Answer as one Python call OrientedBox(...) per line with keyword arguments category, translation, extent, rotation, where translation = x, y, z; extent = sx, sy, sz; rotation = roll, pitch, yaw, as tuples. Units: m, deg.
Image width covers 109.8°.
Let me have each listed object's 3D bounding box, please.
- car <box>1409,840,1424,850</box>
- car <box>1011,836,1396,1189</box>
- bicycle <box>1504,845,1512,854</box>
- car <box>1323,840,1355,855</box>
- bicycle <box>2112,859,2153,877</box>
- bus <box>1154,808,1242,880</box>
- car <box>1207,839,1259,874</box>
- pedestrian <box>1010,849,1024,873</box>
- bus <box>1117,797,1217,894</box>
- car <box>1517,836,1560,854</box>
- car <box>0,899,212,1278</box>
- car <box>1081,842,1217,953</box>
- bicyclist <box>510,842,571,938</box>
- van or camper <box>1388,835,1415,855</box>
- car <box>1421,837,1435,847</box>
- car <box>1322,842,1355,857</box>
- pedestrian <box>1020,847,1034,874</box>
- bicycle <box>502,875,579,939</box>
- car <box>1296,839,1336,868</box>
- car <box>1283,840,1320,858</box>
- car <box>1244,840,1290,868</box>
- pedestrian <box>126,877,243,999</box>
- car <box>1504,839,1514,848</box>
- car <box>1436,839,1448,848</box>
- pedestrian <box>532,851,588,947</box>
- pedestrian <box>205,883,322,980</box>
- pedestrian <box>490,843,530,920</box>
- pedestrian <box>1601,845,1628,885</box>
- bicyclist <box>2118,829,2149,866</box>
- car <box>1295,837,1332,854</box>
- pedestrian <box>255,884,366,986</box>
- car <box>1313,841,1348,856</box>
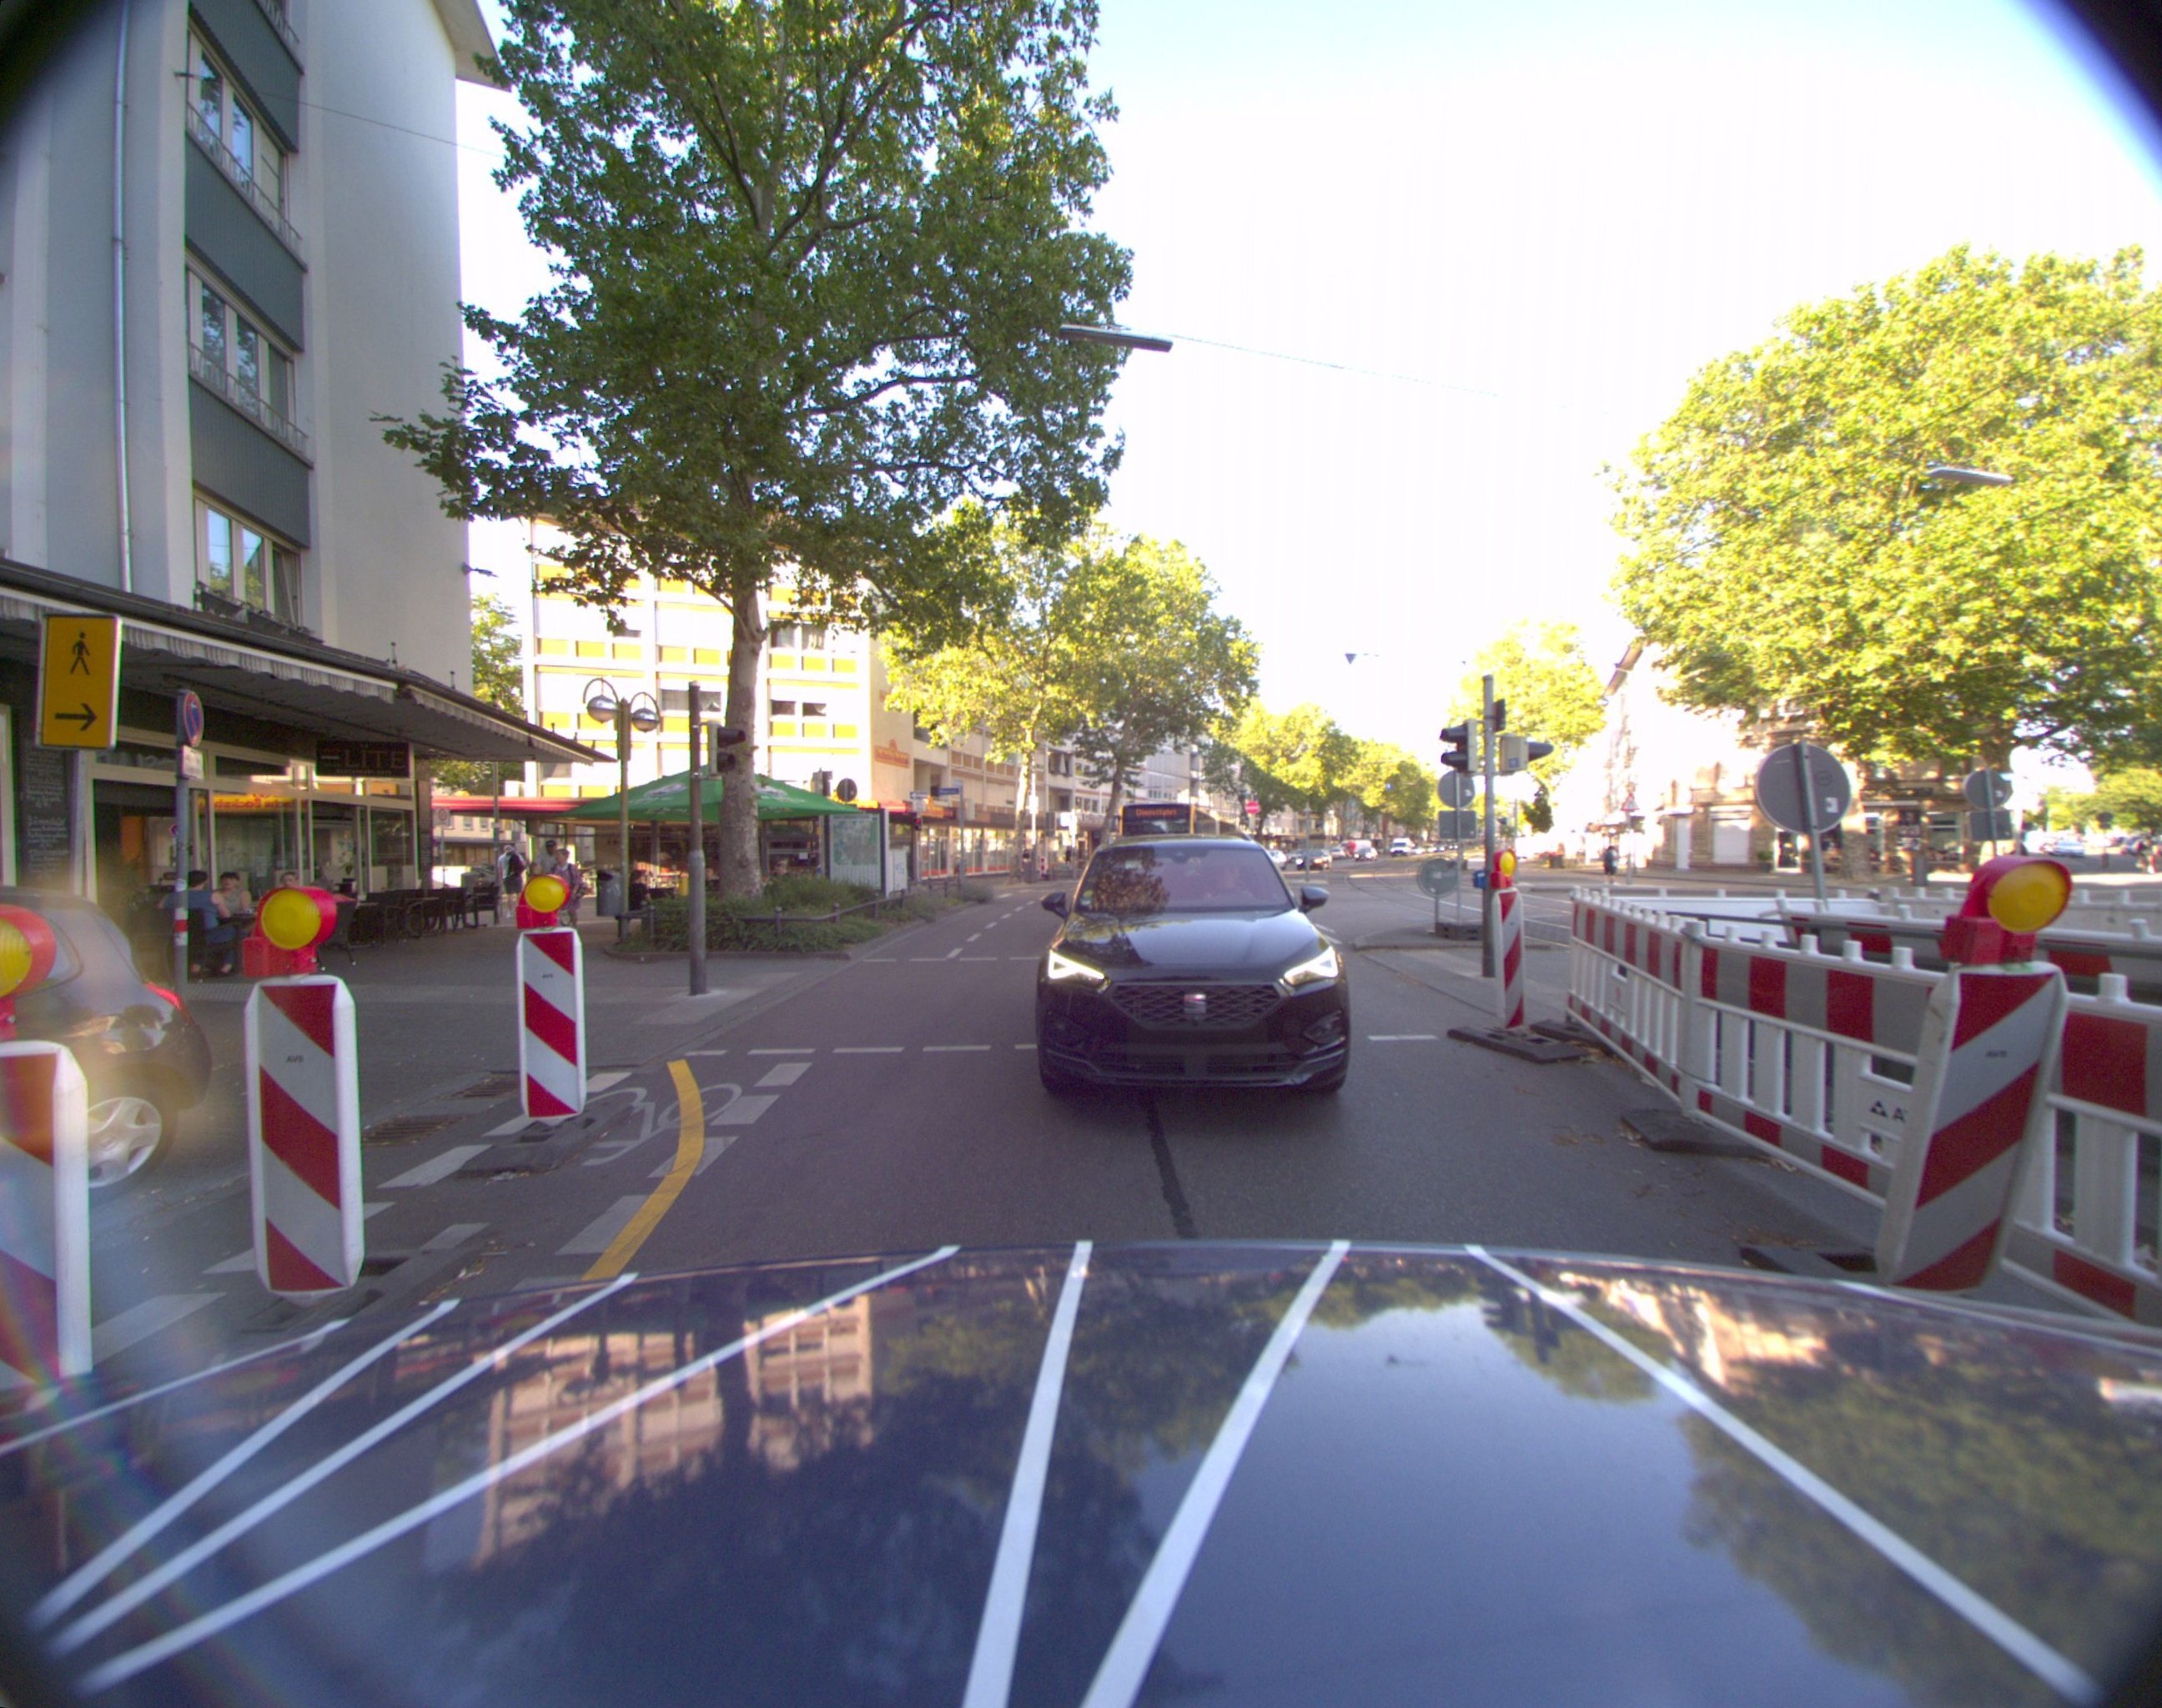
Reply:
OrientedBox(category="car", translation=(53.324, -1.412, 120.822), extent=(1.700, 1.462, 3.771), rotation=(0, 1, 31))
OrientedBox(category="car", translation=(0.622, 0.750, 5.662), extent=(1.841, 1.696, 4.000), rotation=(-1, 1, 1))
OrientedBox(category="bicycle", translation=(56.897, -0.622, 101.237), extent=(0.850, 1.186, 2.470), rotation=(0, 1, 27))
OrientedBox(category="car", translation=(36.578, -0.927, 107.932), extent=(3.994, 2.002, 2.001), rotation=(-1, 1, 8))
OrientedBox(category="bicycle", translation=(48.585, 0.640, 35.115), extent=(1.993, 0.777, 0.680), rotation=(-1, 1, -23))
OrientedBox(category="bus", translation=(5.917, -0.465, 37.083), extent=(2.717, 3.088, 8.608), rotation=(0, 1, 19))
OrientedBox(category="car", translation=(9.339, 0.122, 46.416), extent=(1.995, 2.002, 4.105), rotation=(0, 1, 29))
OrientedBox(category="pedestrian", translation=(-3.812, 0.422, 45.378), extent=(0.627, 1.429, 0.532), rotation=(0, 1, 20))
OrientedBox(category="bus", translation=(3.496, -0.315, 28.625), extent=(2.718, 3.088, 8.629), rotation=(0, 1, 13))
OrientedBox(category="car", translation=(52.485, -1.024, 87.186), extent=(4.001, 2.002, 1.997), rotation=(-1, 1, -13))
OrientedBox(category="car", translation=(-5.225, 0.974, 1.999), extent=(1.771, 1.459, 3.610), rotation=(2, 1, -2))
OrientedBox(category="car", translation=(1.038, 0.626, 13.329), extent=(1.998, 1.634, 4.075), rotation=(-1, 1, 1))
OrientedBox(category="bicyclist", translation=(-10.626, 0.682, 14.976), extent=(0.754, 1.815, 0.924), rotation=(-1, 0, -21))
OrientedBox(category="van or camper", translation=(44.518, -1.291, 105.383), extent=(2.420, 2.702, 6.144), rotation=(0, 1, 32))
OrientedBox(category="car", translation=(61.729, -2.093, 135.193), extent=(1.836, 1.792, 4.138), rotation=(0, 1, 31))
OrientedBox(category="car", translation=(35.100, -0.666, 103.636), extent=(3.994, 2.002, 2.001), rotation=(-1, 1, 8))
OrientedBox(category="pedestrian", translation=(-3.210, 0.371, 45.149), extent=(0.627, 1.577, 0.532), rotation=(0, 1, 20))
OrientedBox(category="bicycle", translation=(-10.663, 1.014, 15.062), extent=(0.752, 1.123, 1.883), rotation=(-2, 1, -21))
OrientedBox(category="car", translation=(16.629, -0.052, 53.579), extent=(1.995, 2.002, 4.007), rotation=(0, 1, 27))
OrientedBox(category="car", translation=(24.781, -0.578, 85.378), extent=(3.991, 2.002, 2.003), rotation=(0, 1, 18))
OrientedBox(category="car", translation=(13.584, -0.022, 55.360), extent=(1.994, 2.002, 4.008), rotation=(0, 1, 33))
OrientedBox(category="pedestrian", translation=(-10.432, 0.939, 8.847), extent=(0.789, 1.299, 0.701), rotation=(0, 1, 28))
OrientedBox(category="car", translation=(95.730, -2.292, 170.035), extent=(1.994, 2.002, 4.007), rotation=(0, 1, 29))
OrientedBox(category="car", translation=(74.461, -2.191, 156.540), extent=(1.836, 1.792, 4.138), rotation=(0, 1, 31))
OrientedBox(category="pedestrian", translation=(-9.107, 0.765, 13.303), extent=(0.629, 1.628, 0.531), rotation=(-1, 1, -15))
OrientedBox(category="pedestrian", translation=(-10.725, 0.999, 9.996), extent=(0.647, 1.186, 0.792), rotation=(0, 1, 7))
OrientedBox(category="pedestrian", translation=(-14.745, 0.686, 19.630), extent=(0.649, 1.948, 0.887), rotation=(-1, 1, -27))
OrientedBox(category="pedestrian", translation=(20.346, 0.405, 29.002), extent=(0.603, 1.524, 0.745), rotation=(0, 1, 12))
OrientedBox(category="bicyclist", translation=(48.695, -0.298, 35.146), extent=(0.766, 1.718, 0.672), rotation=(-1, 1, -22))
OrientedBox(category="car", translation=(28.336, -1.010, 92.701), extent=(3.994, 2.002, 2.001), rotation=(-1, 1, 8))
OrientedBox(category="pedestrian", translation=(-9.815, 1.003, 9.690), extent=(0.877, 1.186, 0.701), rotation=(0, 1, 24))
OrientedBox(category="car", translation=(32.476, -0.717, 98.948), extent=(3.994, 2.002, 2.001), rotation=(-1, 1, 8))
